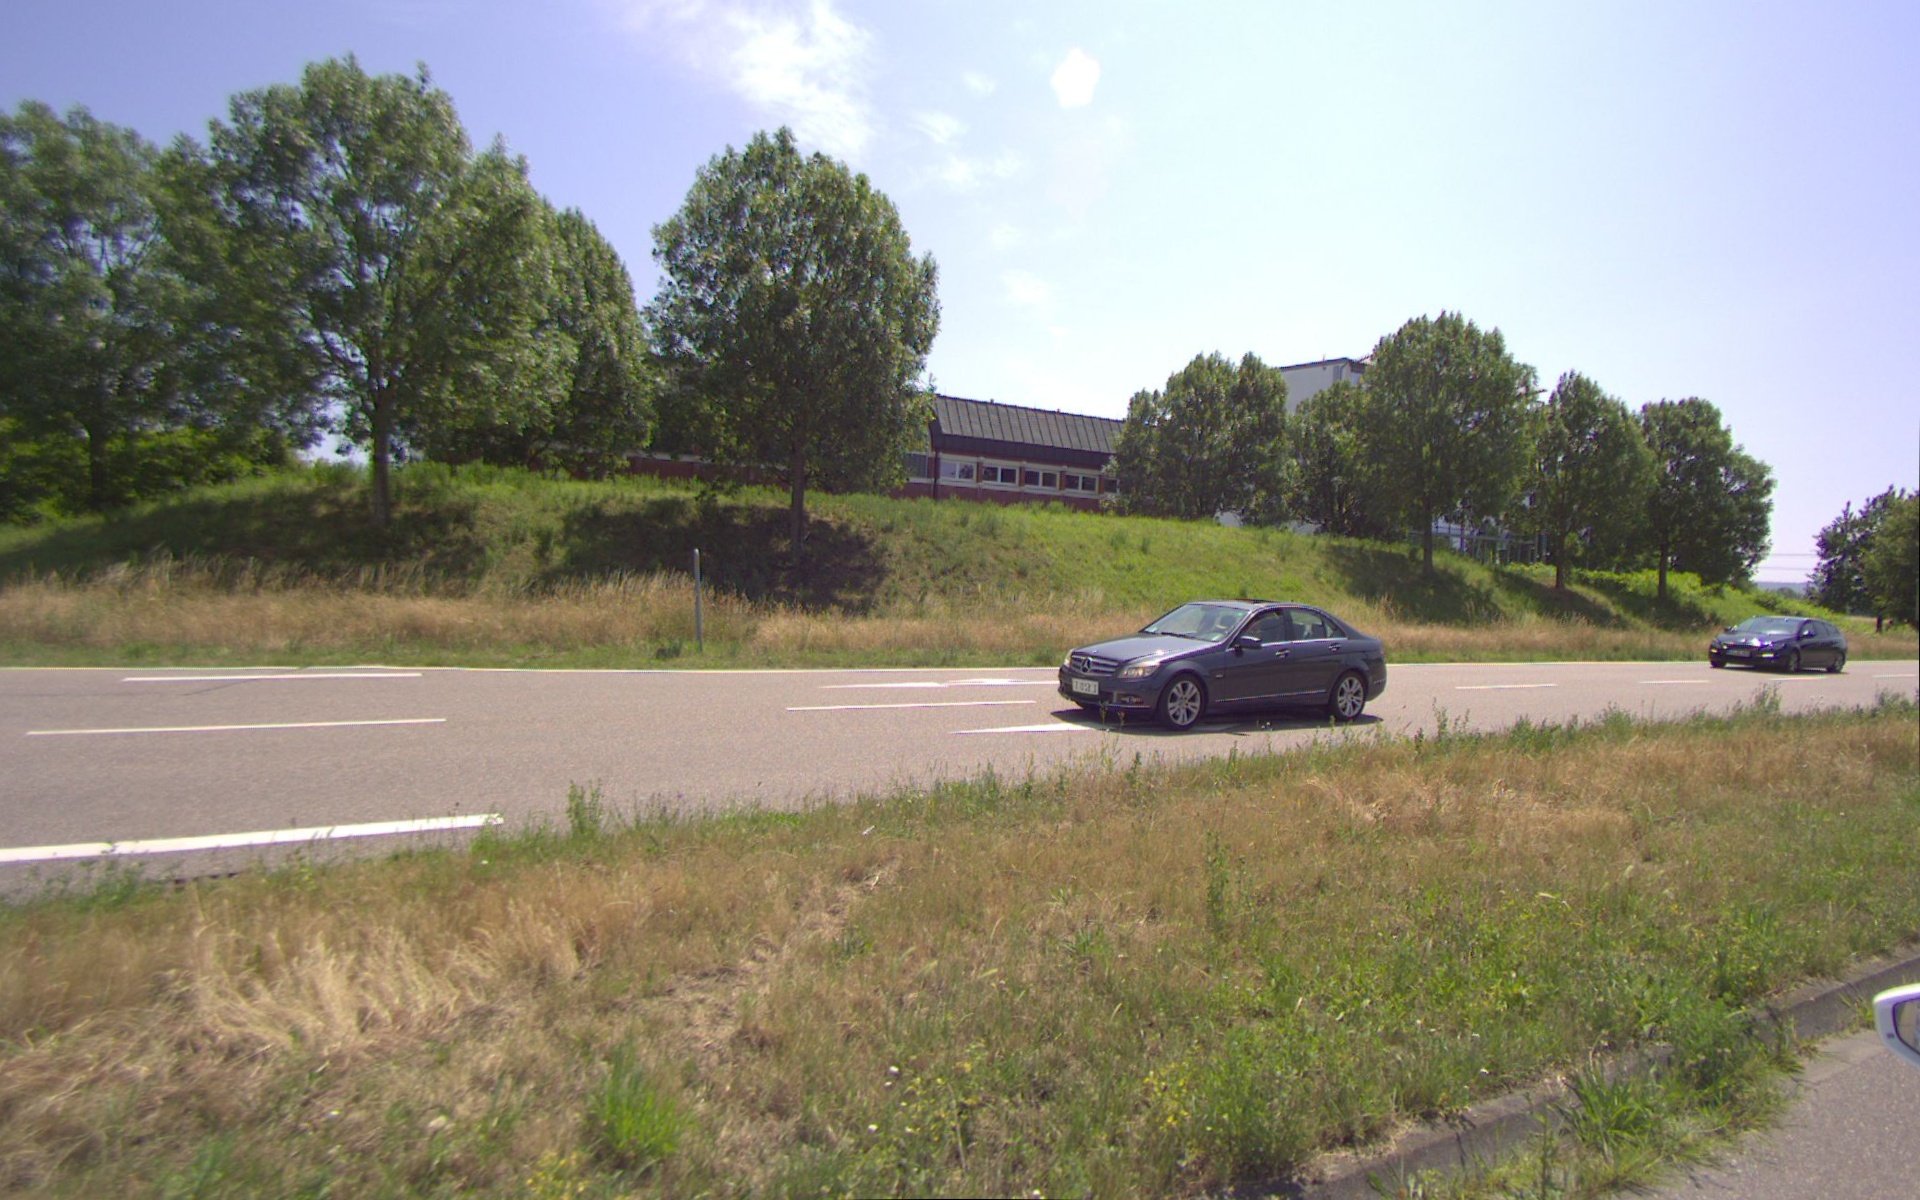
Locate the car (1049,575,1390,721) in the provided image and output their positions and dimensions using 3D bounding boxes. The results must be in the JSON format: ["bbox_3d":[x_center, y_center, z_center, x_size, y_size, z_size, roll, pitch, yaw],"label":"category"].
[{"bbox_3d":[3.197,0.526,12.224,3.952,1.512,1.684,1,1,-30],"label":"car"}]

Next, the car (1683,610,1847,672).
[{"bbox_3d":[21.315,1.042,26.554,4.616,1.378,1.981,1,3,-33],"label":"car"}]
